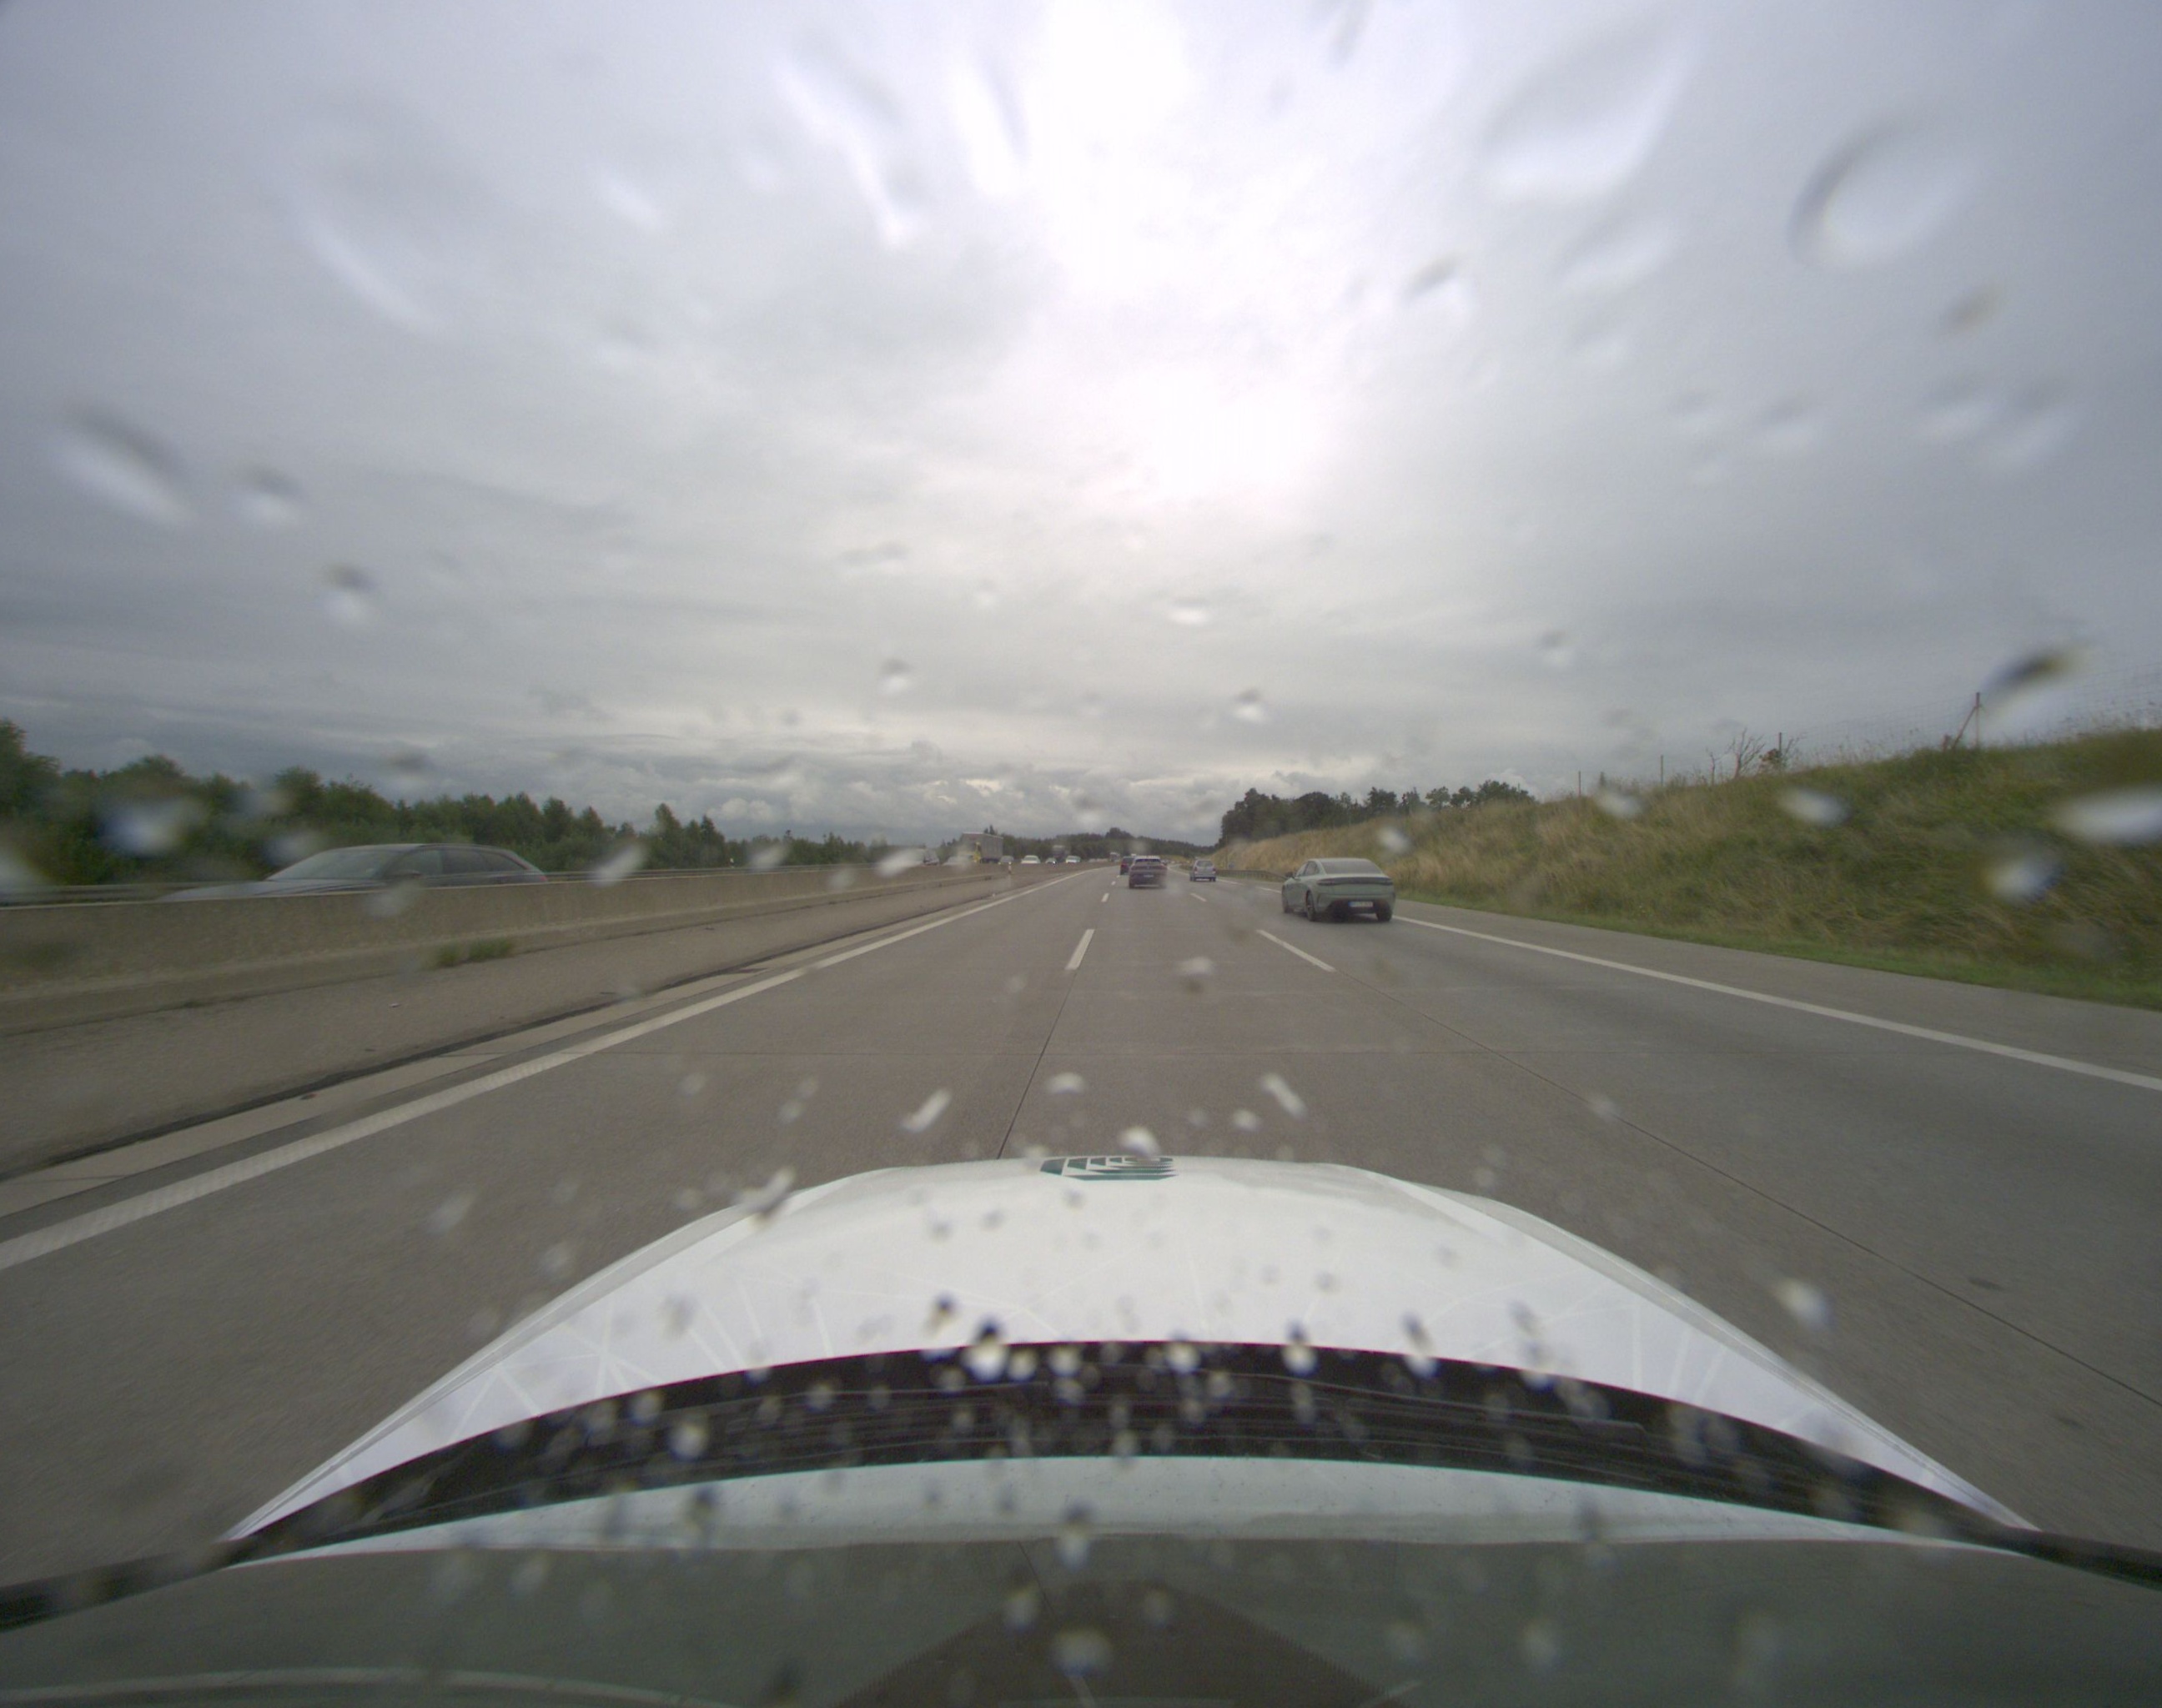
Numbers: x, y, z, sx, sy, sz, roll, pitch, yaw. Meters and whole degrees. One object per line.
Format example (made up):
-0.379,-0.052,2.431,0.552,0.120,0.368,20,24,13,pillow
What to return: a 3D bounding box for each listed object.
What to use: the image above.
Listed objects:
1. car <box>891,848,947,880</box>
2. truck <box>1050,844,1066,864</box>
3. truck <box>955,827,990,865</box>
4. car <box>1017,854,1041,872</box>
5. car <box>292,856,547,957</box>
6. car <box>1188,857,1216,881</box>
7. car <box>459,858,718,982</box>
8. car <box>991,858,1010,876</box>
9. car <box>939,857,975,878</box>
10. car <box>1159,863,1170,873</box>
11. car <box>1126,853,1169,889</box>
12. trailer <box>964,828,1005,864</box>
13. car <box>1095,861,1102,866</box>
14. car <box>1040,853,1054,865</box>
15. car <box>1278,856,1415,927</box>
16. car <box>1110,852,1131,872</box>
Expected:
-8.541,0.500,43.359,1.893,1.579,4.744,-1,1,2,car
-5.256,-0.041,185.742,2.776,4.262,6.057,3,1,4,truck
-12.398,-0.920,93.772,2.920,4.180,5.862,-1,1,2,truck
-5.601,0.978,87.925,2.026,1.867,4.607,-1,0,3,car
-13.557,0.968,17.126,1.490,1.748,4.581,-1,1,2,car
8.009,0.960,53.896,1.479,1.470,3.508,2,1,3,car
-9.605,1.141,16.559,1.893,2.013,5.281,-1,1,2,car
-9.421,1.523,95.074,1.639,2.013,4.002,-1,1,2,car
-10.298,1.115,68.039,2.026,1.666,5.271,-1,0,2,car
13.858,2.319,135.263,1.479,1.470,3.508,2,1,3,car
3.321,0.810,41.554,1.891,1.690,5.269,-1,1,2,car
-11.926,-1.006,101.800,2.906,4.217,11.885,-1,1,4,trailer
5.288,2.911,244.756,1.710,1.508,4.491,1,-2,4,car
-5.958,0.926,143.483,1.906,2.013,5.930,-1,1,4,car
6.315,0.812,19.995,2.006,1.445,4.748,-1,1,3,car
3.736,0.703,75.892,1.776,1.747,3.921,-1,1,5,car
